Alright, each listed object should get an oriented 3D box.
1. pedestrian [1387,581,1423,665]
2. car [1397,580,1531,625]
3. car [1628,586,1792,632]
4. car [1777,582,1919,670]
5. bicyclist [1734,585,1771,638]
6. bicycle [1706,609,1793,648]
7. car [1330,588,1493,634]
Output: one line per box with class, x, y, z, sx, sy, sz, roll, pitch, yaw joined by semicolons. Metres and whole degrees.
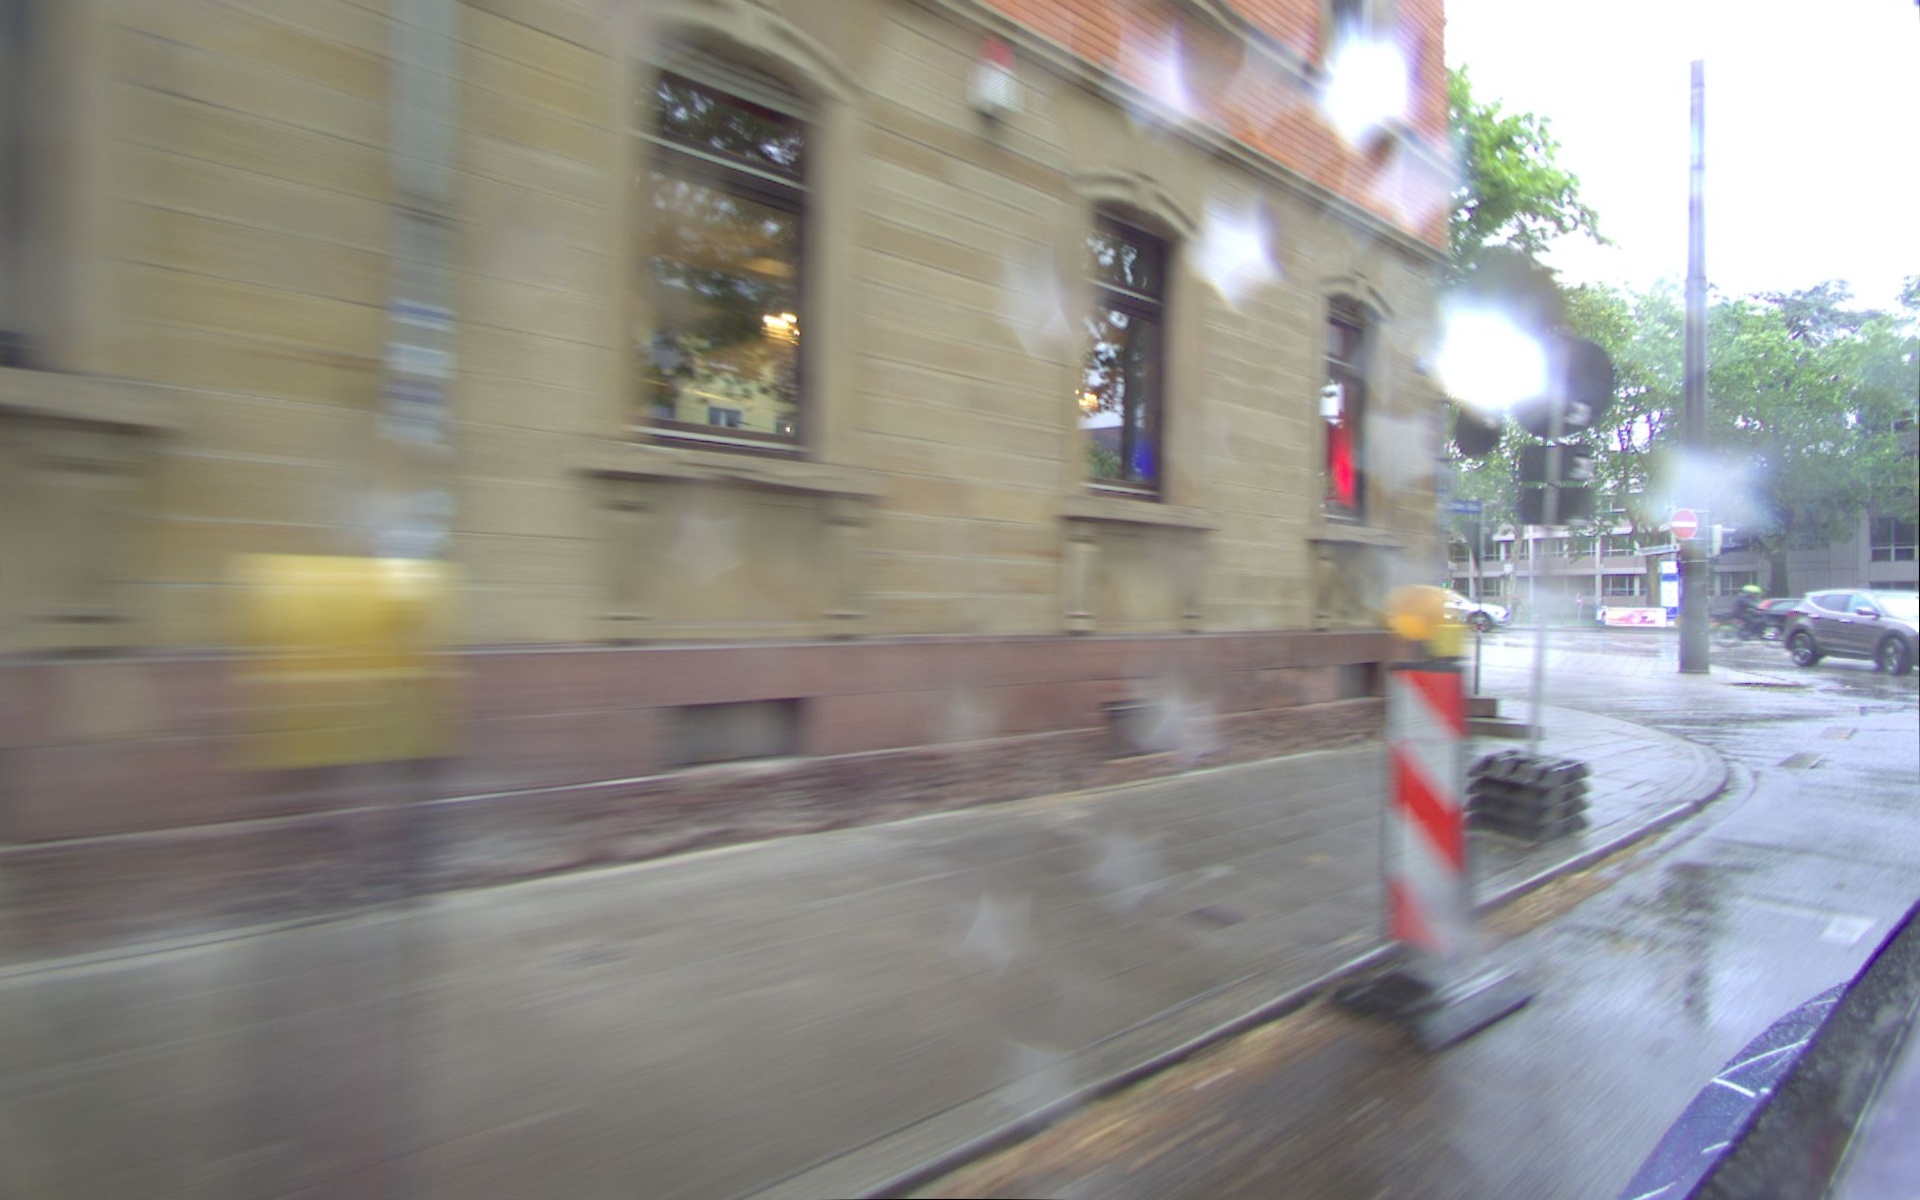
pedestrian;9.924;0.511;22.594;0.559;1.796;1.196;3;-1;20
car;19.913;0.076;40.049;4.527;1.680;1.765;0;1;36
car;26.184;0.292;35.534;4.527;1.532;1.765;0;1;36
car;19.491;0.467;20.888;1.882;1.667;4.671;-1;1;7
bicyclist;23.451;0.318;29.931;0.802;1.488;0.914;2;2;41
bicycle;23.281;0.831;29.865;1.989;1.102;0.807;-1;1;41
car;16.914;0.399;38.047;5.308;1.613;1.922;0;-1;39
